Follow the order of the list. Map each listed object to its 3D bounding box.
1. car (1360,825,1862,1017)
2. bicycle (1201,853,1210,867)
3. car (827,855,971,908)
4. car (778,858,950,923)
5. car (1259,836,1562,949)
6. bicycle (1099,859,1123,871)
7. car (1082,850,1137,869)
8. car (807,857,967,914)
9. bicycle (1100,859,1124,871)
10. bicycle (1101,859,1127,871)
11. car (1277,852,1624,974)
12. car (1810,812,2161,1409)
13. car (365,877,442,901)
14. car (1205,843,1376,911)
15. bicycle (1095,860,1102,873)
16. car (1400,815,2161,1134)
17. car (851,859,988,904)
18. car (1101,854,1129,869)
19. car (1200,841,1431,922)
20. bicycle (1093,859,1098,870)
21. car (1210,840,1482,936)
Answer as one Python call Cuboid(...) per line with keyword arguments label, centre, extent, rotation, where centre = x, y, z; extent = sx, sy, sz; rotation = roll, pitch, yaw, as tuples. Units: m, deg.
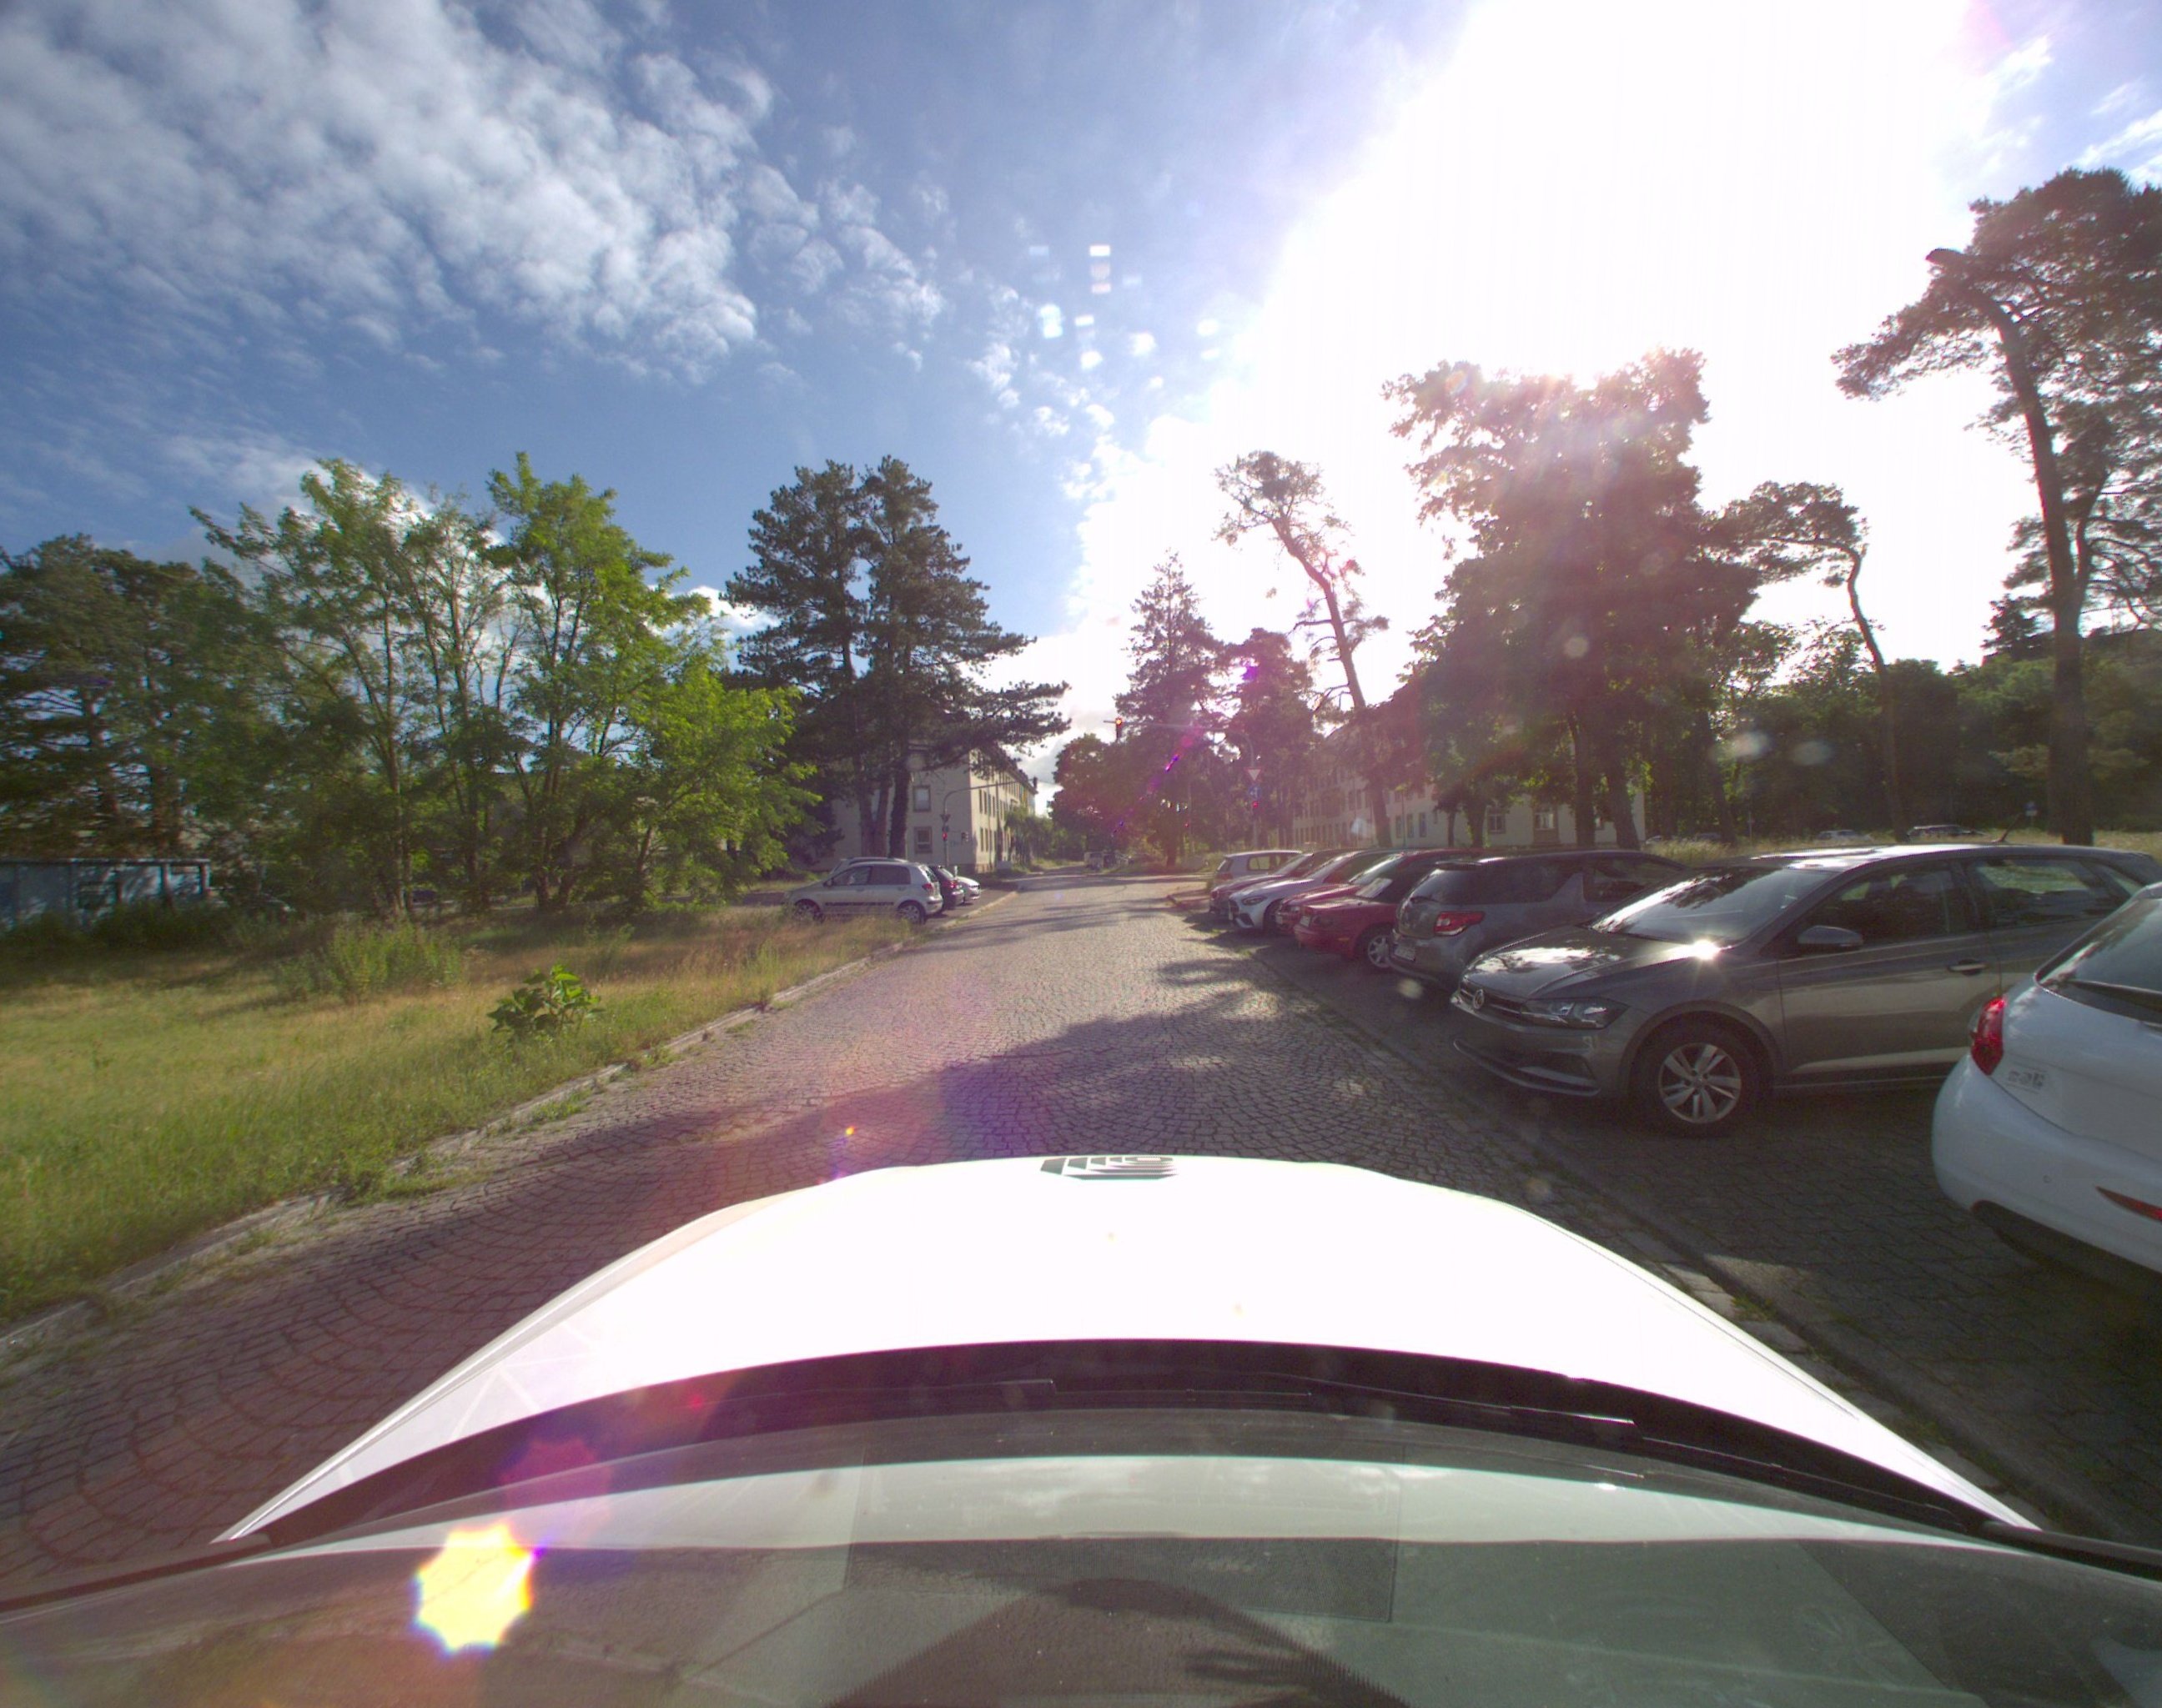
Cuboid(label="car", centre=(4.914, 0.582, 7.988), extent=(3.694, 1.449, 1.817), rotation=(-4, 0, 1))
Cuboid(label="bicycle", centre=(8.751, 0.447, 57.304), extent=(0.300, 0.961, 1.584), rotation=(0, -1, -2))
Cuboid(label="car", centre=(-5.593, 0.827, 25.367), extent=(4.069, 1.593, 1.884), rotation=(0, 0, -2))
Cuboid(label="car", centre=(-5.173, 0.862, 19.763), extent=(3.736, 1.487, 1.645), rotation=(0, 0, -2))
Cuboid(label="car", centre=(5.092, 0.574, 12.987), extent=(4.112, 1.449, 1.637), rotation=(-4, 0, 1))
Cuboid(label="bicycle", centre=(2.643, 0.969, 72.087), extent=(2.026, 1.010, 0.626), rotation=(0, -1, -7))
Cuboid(label="car", centre=(3.056, 0.624, 87.565), extent=(5.534, 2.014, 1.988), rotation=(0, -1, -17))
Cuboid(label="car", centre=(-5.234, 0.838, 22.399), extent=(3.976, 1.480, 1.802), rotation=(0, 0, -2))
Cuboid(label="bicycle", centre=(2.696, 0.959, 71.204), extent=(2.002, 1.010, 0.630), rotation=(0, -1, -7))
Cuboid(label="bicycle", centre=(2.815, 0.940, 69.531), extent=(2.107, 1.010, 0.619), rotation=(0, -1, -7))
Cuboid(label="car", centre=(4.608, 0.703, 10.595), extent=(3.693, 1.223, 1.747), rotation=(-4, 0, 1))
Cuboid(label="car", centre=(4.648, 0.582, 2.200), extent=(3.693, 1.534, 1.762), rotation=(-4, 0, 1))
Cuboid(label="car", centre=(-47.050, 2.404, 56.673), extent=(1.895, 1.433, 4.002), rotation=(-2, -1, 2))
Cuboid(label="car", centre=(5.198, 0.542, 20.568), extent=(3.868, 1.415, 1.637), rotation=(-4, 0, 1))
Cuboid(label="bicycle", centre=(1.438, 1.034, 65.885), extent=(0.466, 1.010, 1.584), rotation=(0, -1, -2))
Cuboid(label="car", centre=(4.238, 0.615, 5.129), extent=(3.693, 1.449, 1.857), rotation=(-4, 0, 1))
Cuboid(label="car", centre=(-5.428, 0.909, 27.755), extent=(4.322, 1.468, 1.829), rotation=(0, 0, -2))
Cuboid(label="car", centre=(3.497, 0.758, 83.960), extent=(2.776, 1.467, 1.669), rotation=(0, -1, -4))
Cuboid(label="car", centre=(5.000, 0.572, 17.790), extent=(4.542, 1.415, 1.637), rotation=(-4, 0, 1))
Cuboid(label="bicycle", centre=(1.416, 1.011, 79.166), extent=(0.416, 1.010, 1.484), rotation=(0, -1, 2))
Cuboid(label="car", centre=(4.748, 0.592, 15.078), extent=(4.415, 1.415, 1.781), rotation=(-4, 0, 1))
